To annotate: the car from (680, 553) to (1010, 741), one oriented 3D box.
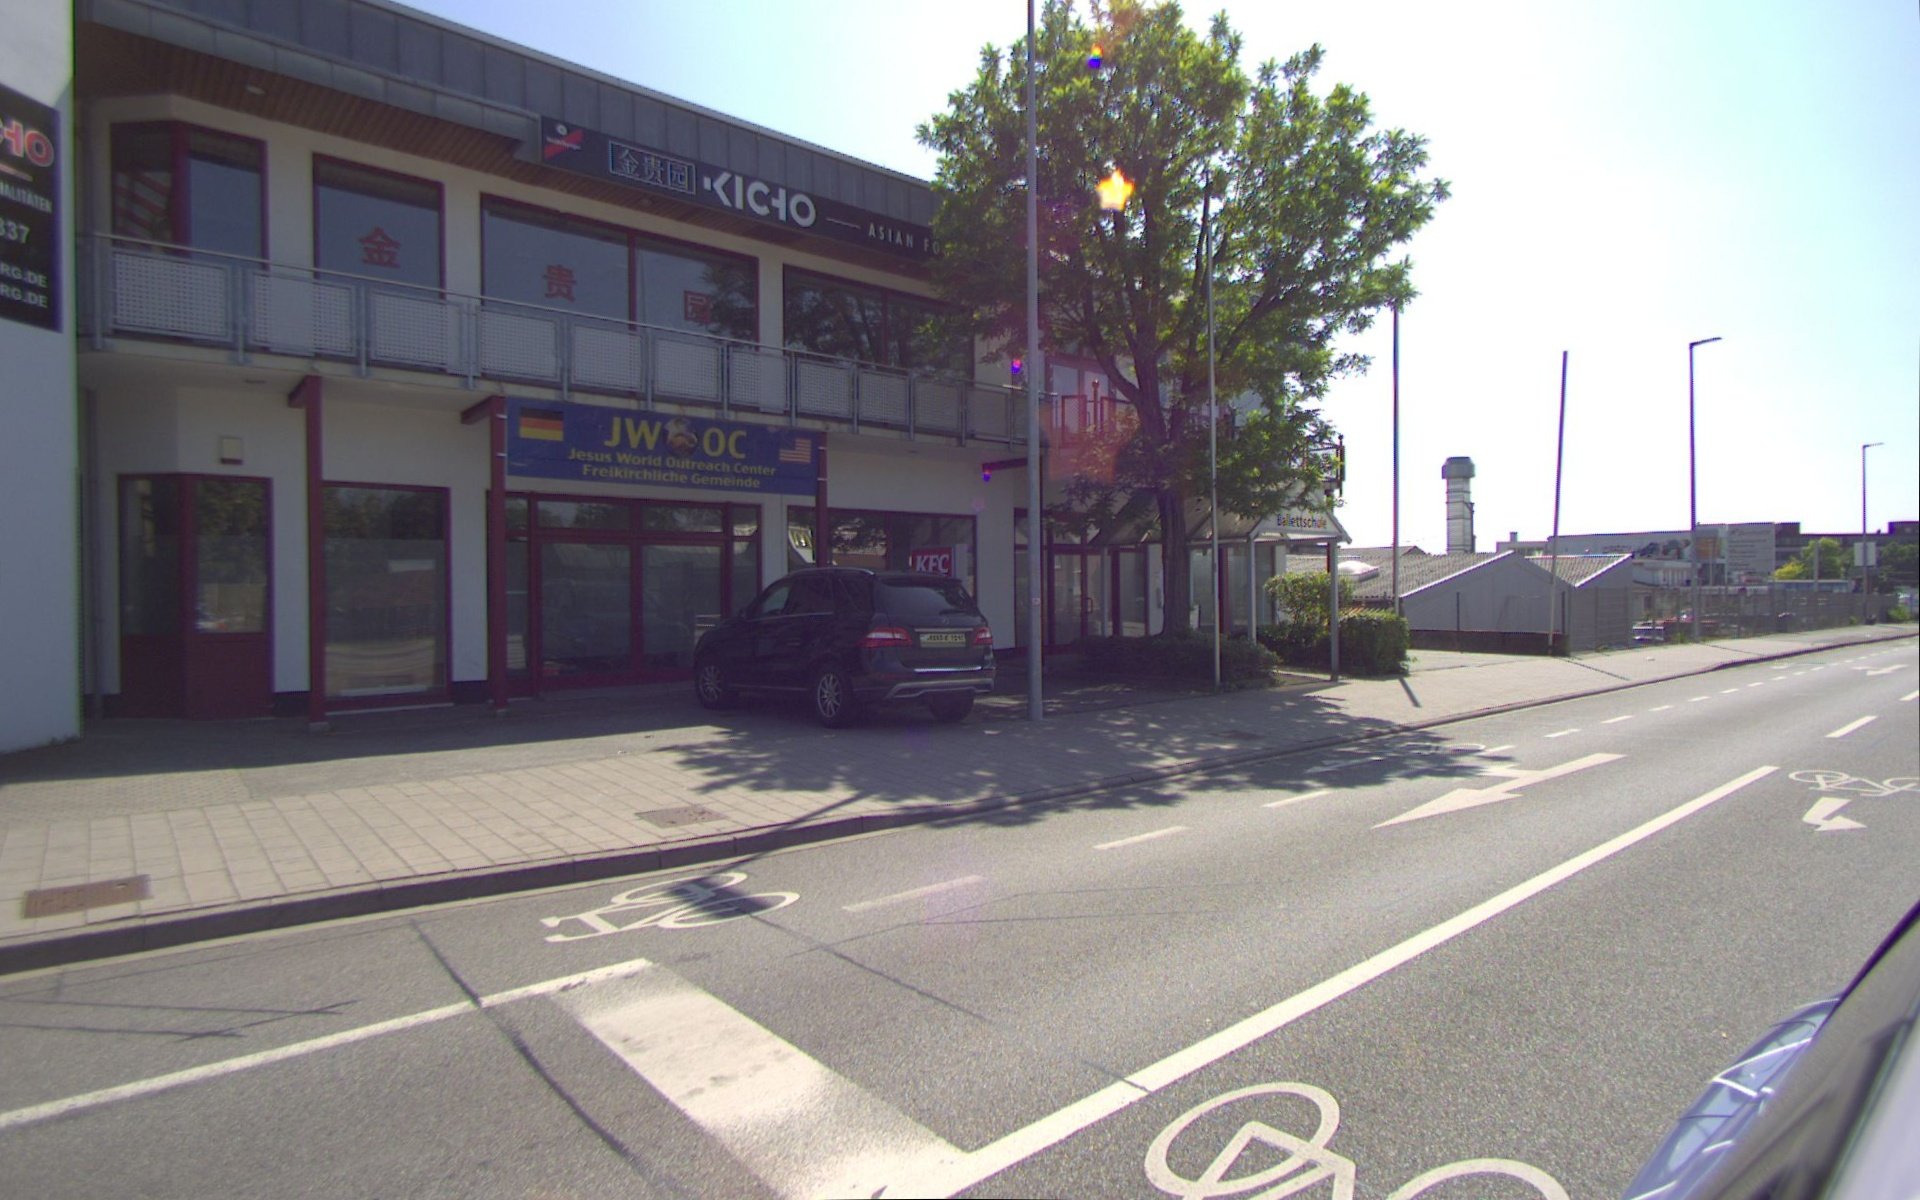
[{"bbox_3d":[-1.614,0.453,12.472,1.777,1.879,4.652,0,0,-40],"label":"car"}]
